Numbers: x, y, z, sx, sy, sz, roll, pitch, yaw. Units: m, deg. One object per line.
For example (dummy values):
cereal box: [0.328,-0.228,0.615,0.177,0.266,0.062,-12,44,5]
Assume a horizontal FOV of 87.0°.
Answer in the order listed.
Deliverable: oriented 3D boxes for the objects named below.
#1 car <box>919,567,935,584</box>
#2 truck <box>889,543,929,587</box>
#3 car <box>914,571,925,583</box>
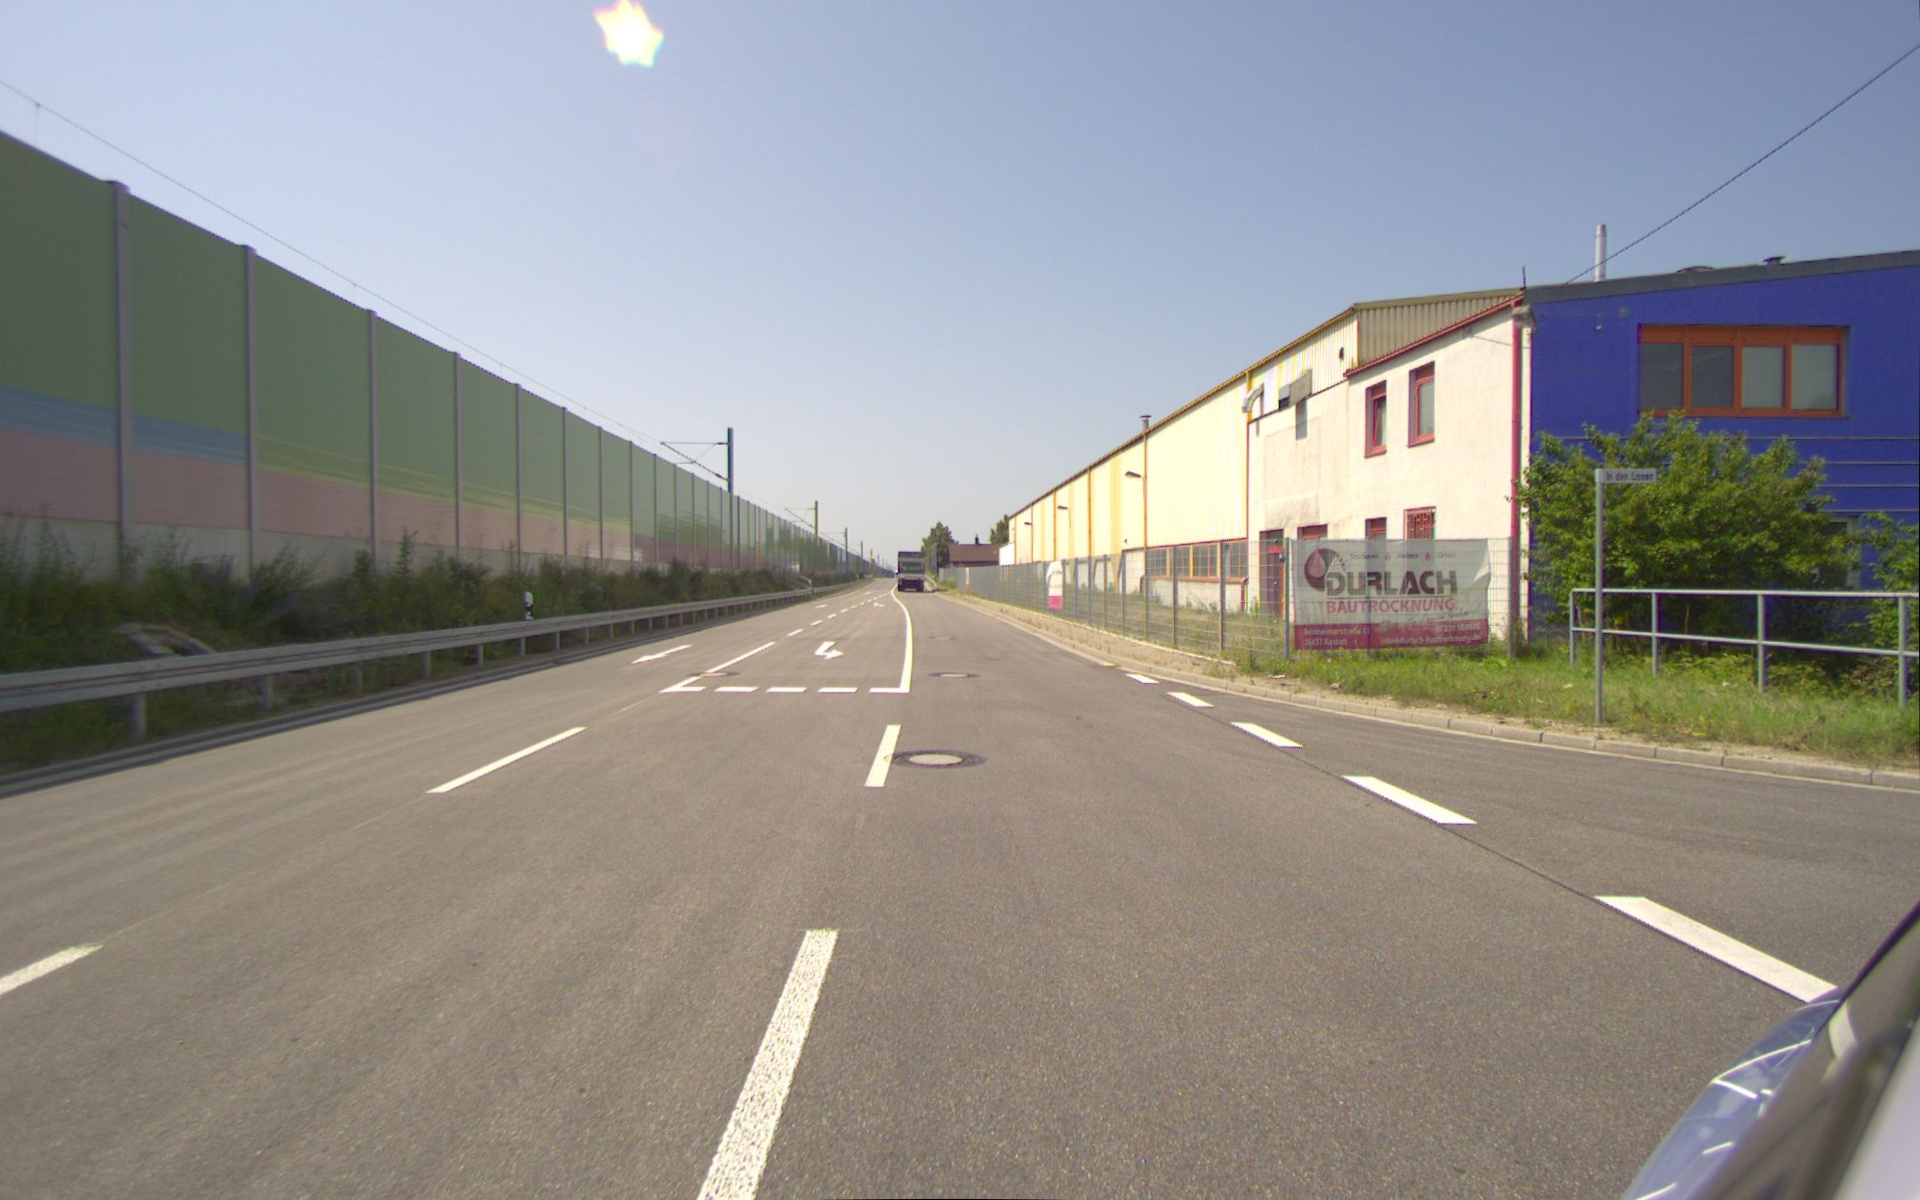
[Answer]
car: [-4.004,-2.990,122.562,1.961,2.039,4.002,0,1,-2]
truck: [-4.772,-3.201,96.860,3.497,3.926,11.419,0,1,-1]
car: [-7.195,-4.063,181.248,1.961,2.039,4.002,0,1,-2]
